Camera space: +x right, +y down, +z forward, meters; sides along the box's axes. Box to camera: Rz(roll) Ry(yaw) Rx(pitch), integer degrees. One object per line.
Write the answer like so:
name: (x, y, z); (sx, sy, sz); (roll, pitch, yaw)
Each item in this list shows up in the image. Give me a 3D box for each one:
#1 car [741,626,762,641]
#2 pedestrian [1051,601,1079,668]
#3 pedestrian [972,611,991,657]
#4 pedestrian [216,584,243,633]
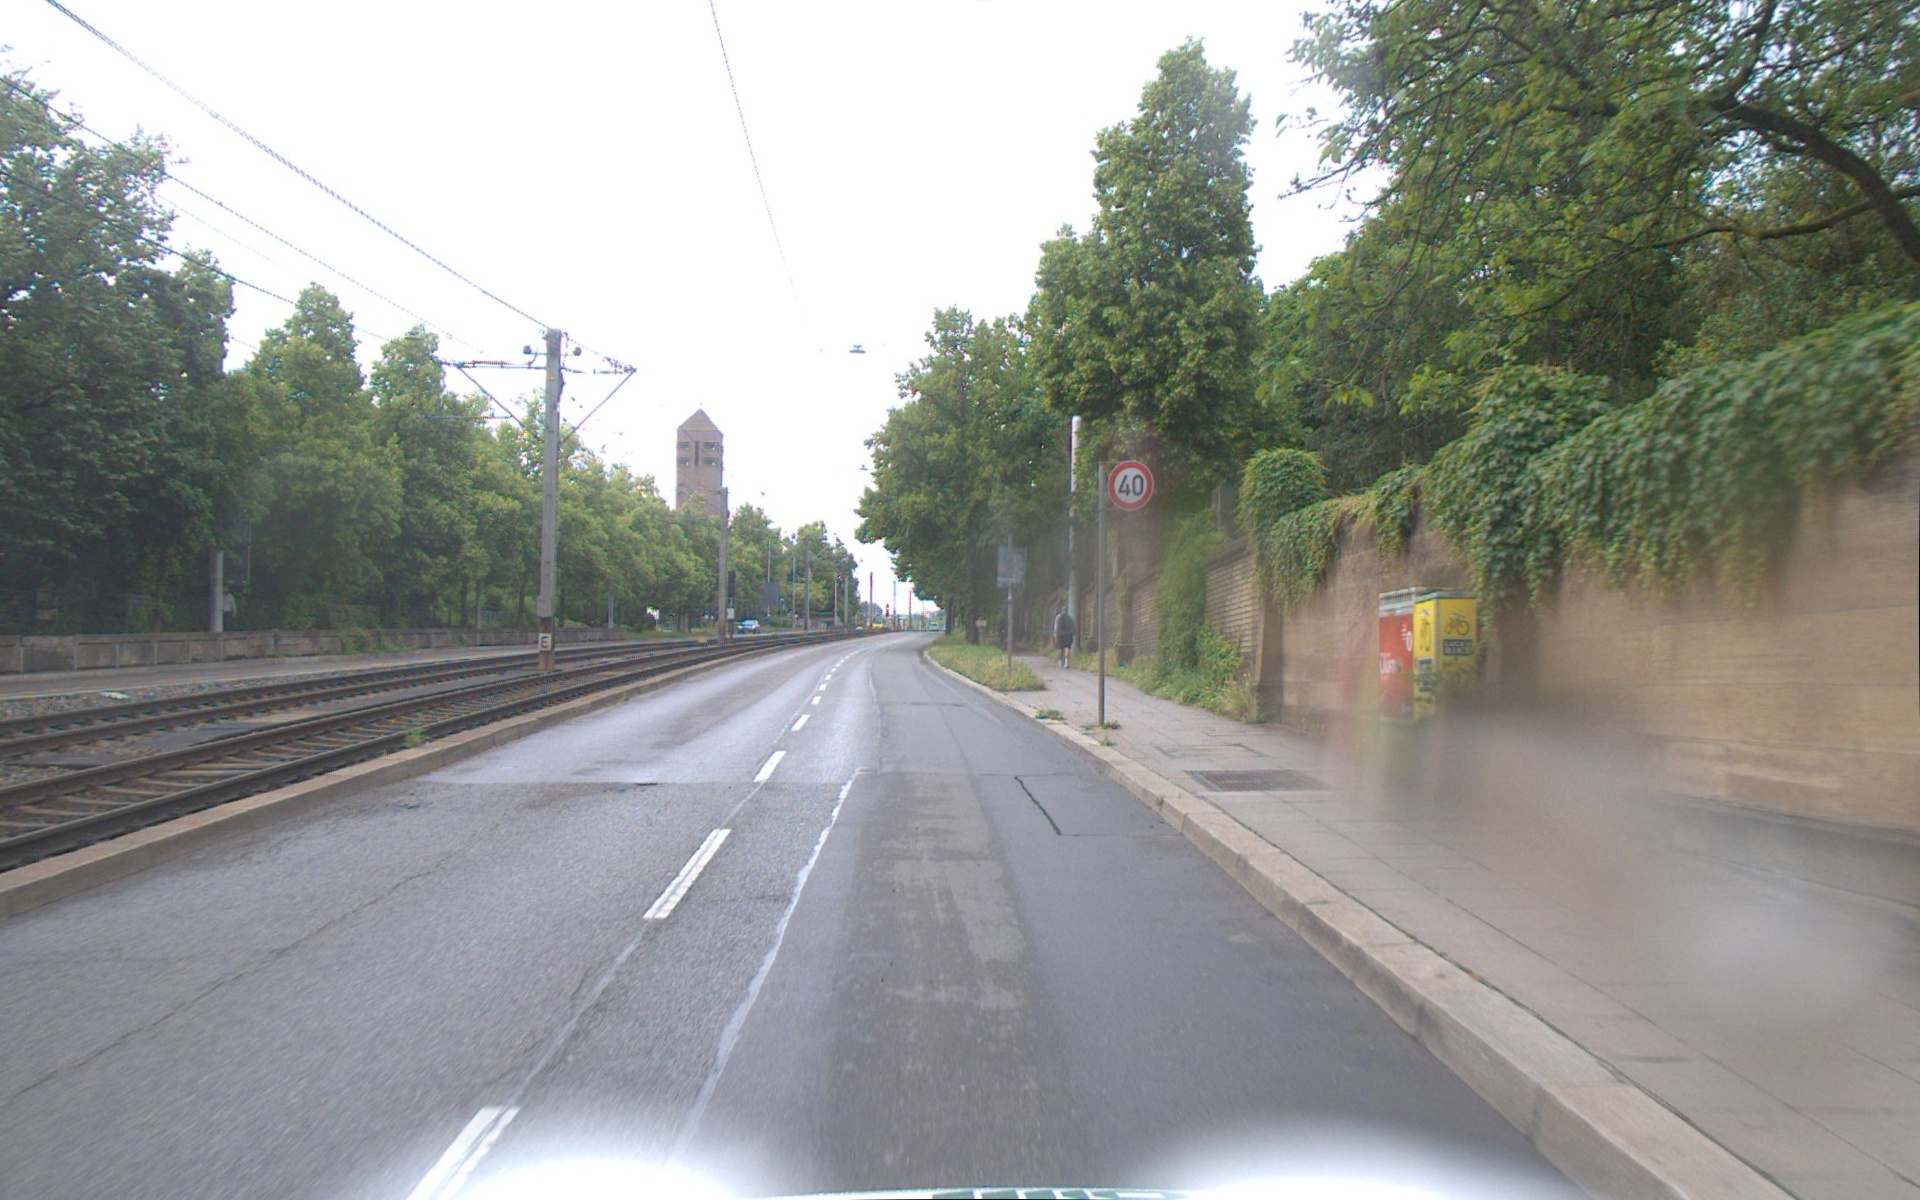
car: (-22.332, 3.552, 177.118); (1.758, 1.537, 3.848); (0, 0, -1)
pedestrian: (2.980, 0.970, 47.006); (0.705, 1.882, 0.783); (1, -1, -1)
pedestrian: (0.825, 1.298, 63.359); (0.705, 1.717, 0.729); (1, -1, -1)
pedestrian: (-25.537, 0.295, 57.837); (0.635, 1.690, 0.650); (-2, 0, 0)
